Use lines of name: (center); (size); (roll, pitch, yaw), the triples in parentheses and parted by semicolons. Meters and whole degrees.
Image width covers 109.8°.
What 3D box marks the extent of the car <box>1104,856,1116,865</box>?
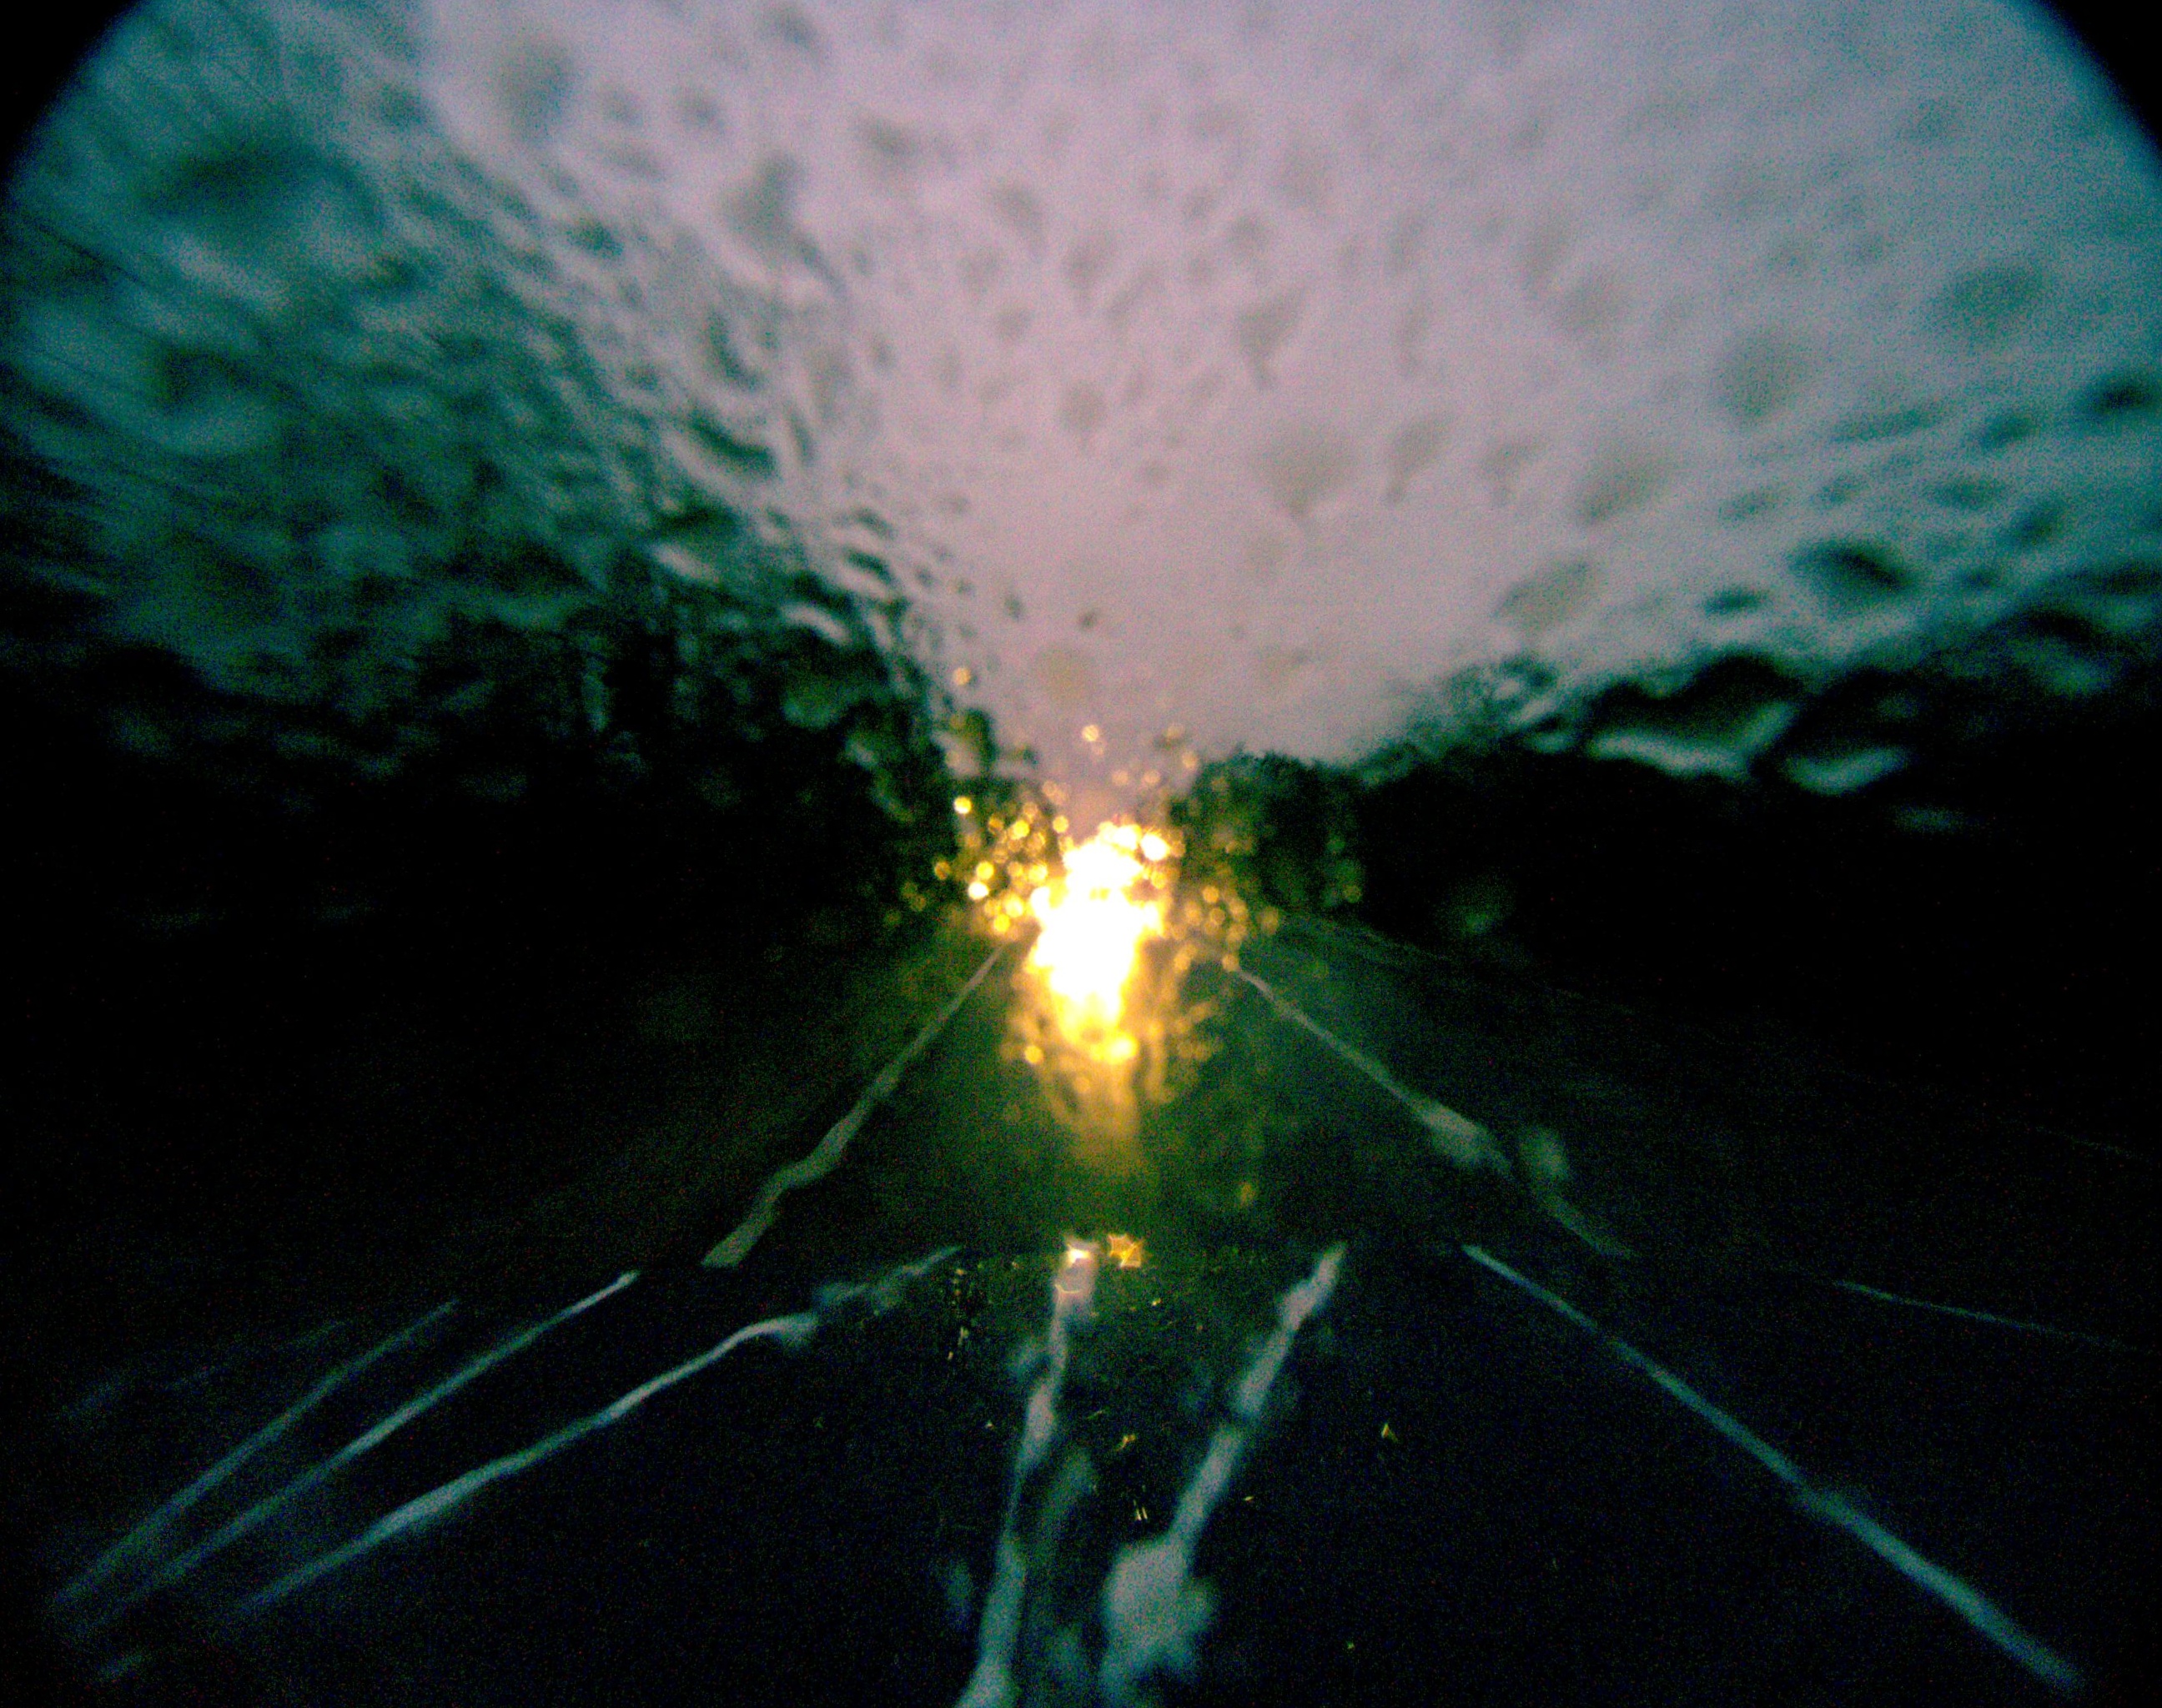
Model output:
car: (4.717, 1.082, 124.209); (1.809, 1.478, 4.000); (1, 0, 0)

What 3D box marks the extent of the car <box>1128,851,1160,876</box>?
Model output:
car: (4.218, 0.639, 51.509); (1.771, 1.589, 3.999); (1, 0, 0)

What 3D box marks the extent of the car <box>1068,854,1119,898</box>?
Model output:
car: (0.474, 0.812, 30.396); (1.860, 1.604, 4.000); (-1, 0, 1)
